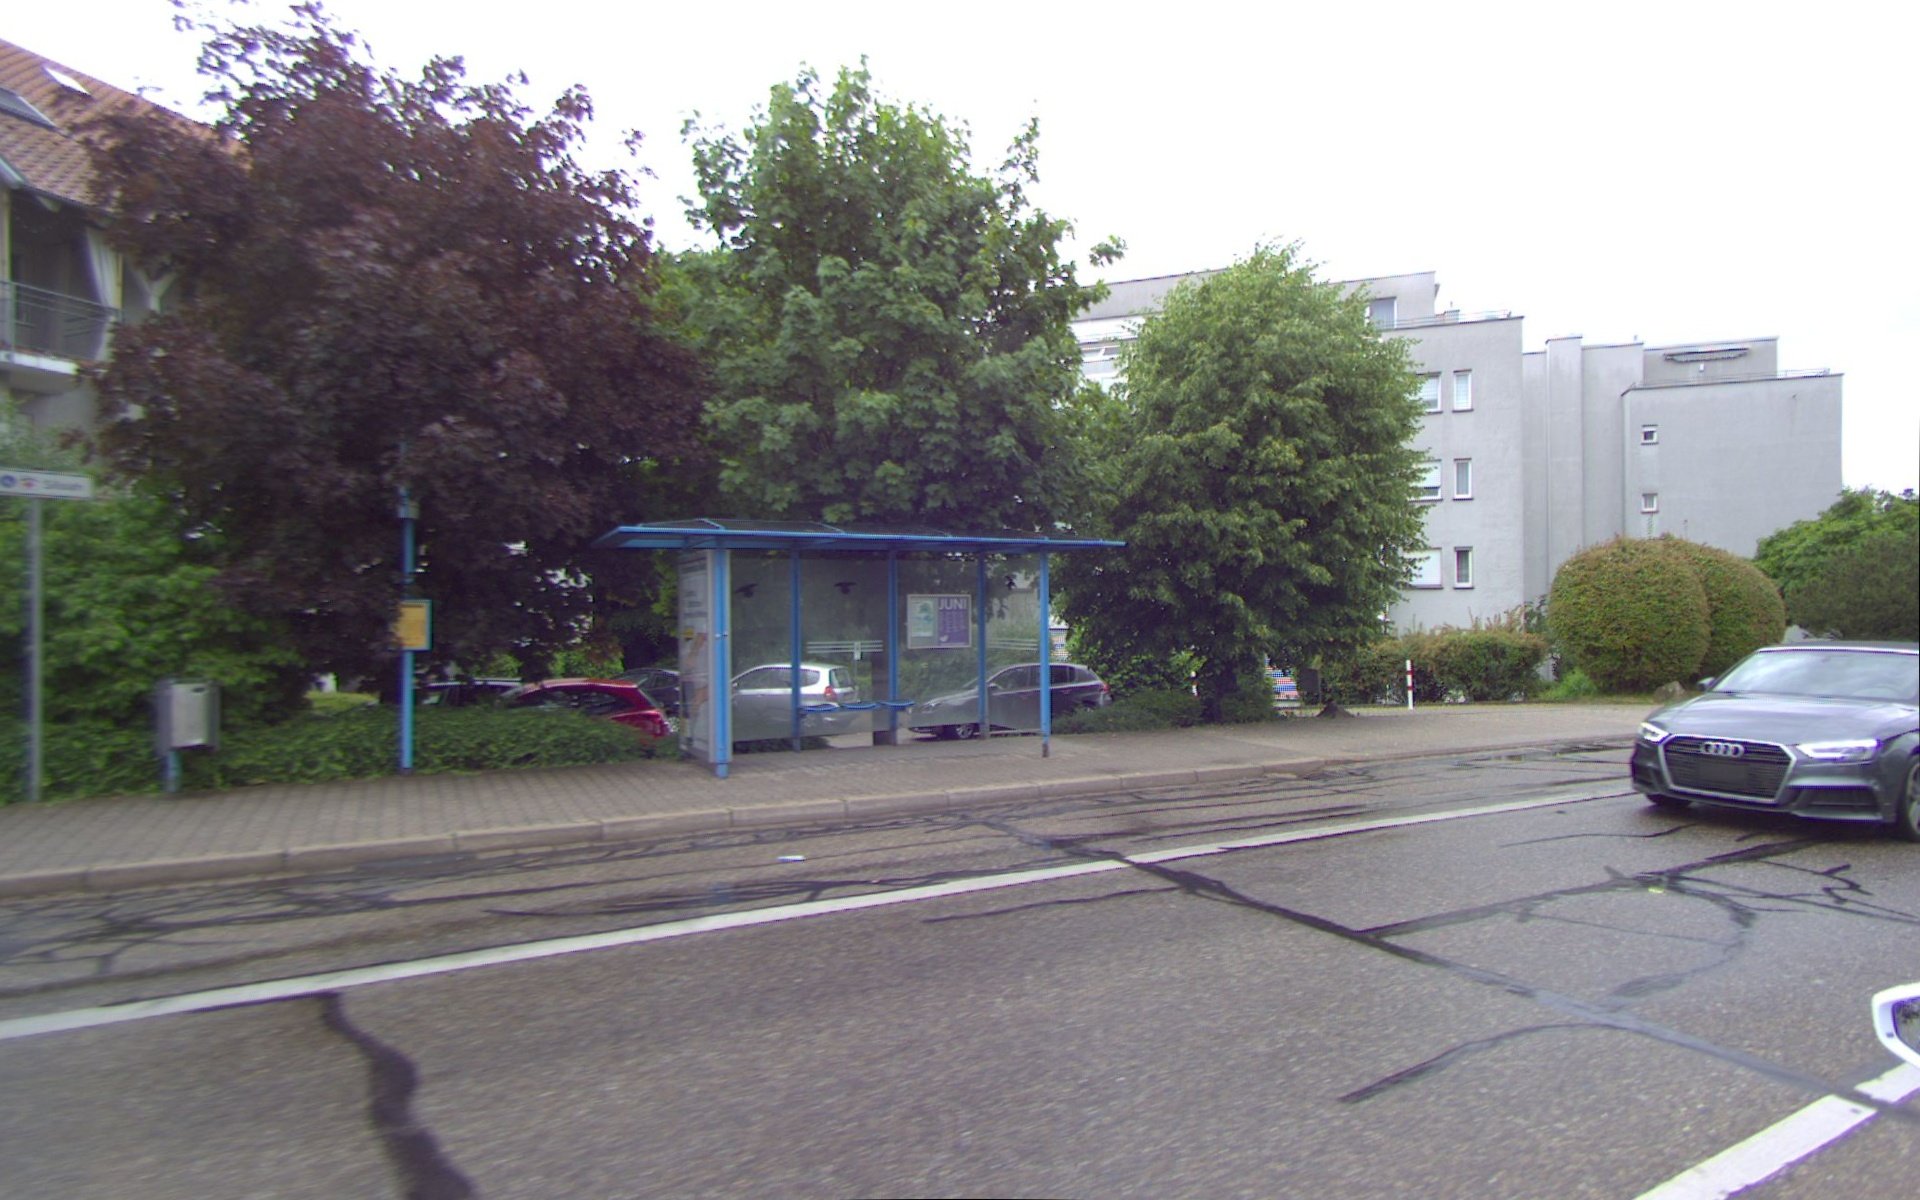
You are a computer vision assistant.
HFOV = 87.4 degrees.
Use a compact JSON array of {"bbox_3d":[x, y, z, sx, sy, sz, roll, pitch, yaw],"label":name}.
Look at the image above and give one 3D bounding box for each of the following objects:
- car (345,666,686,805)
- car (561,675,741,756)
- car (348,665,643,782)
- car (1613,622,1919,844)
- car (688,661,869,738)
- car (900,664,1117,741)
[{"bbox_3d":[-5.938,1.700,13.574,3.959,1.483,1.757,2,-1,-34],"label":"car"},{"bbox_3d":[-6.555,2.395,21.321,3.366,1.413,1.669,0,-1,24],"label":"car"},{"bbox_3d":[-7.163,1.818,15.628,3.959,1.483,1.600,2,-1,-34],"label":"car"},{"bbox_3d":[7.452,0.939,8.333,3.948,1.462,1.668,1,-1,-27],"label":"car"},{"bbox_3d":[-4.051,2.169,22.505,3.642,1.451,1.670,1,-1,20],"label":"car"},{"bbox_3d":[0.944,2.072,20.732,4.094,1.439,1.996,0,-4,-13],"label":"car"}]
